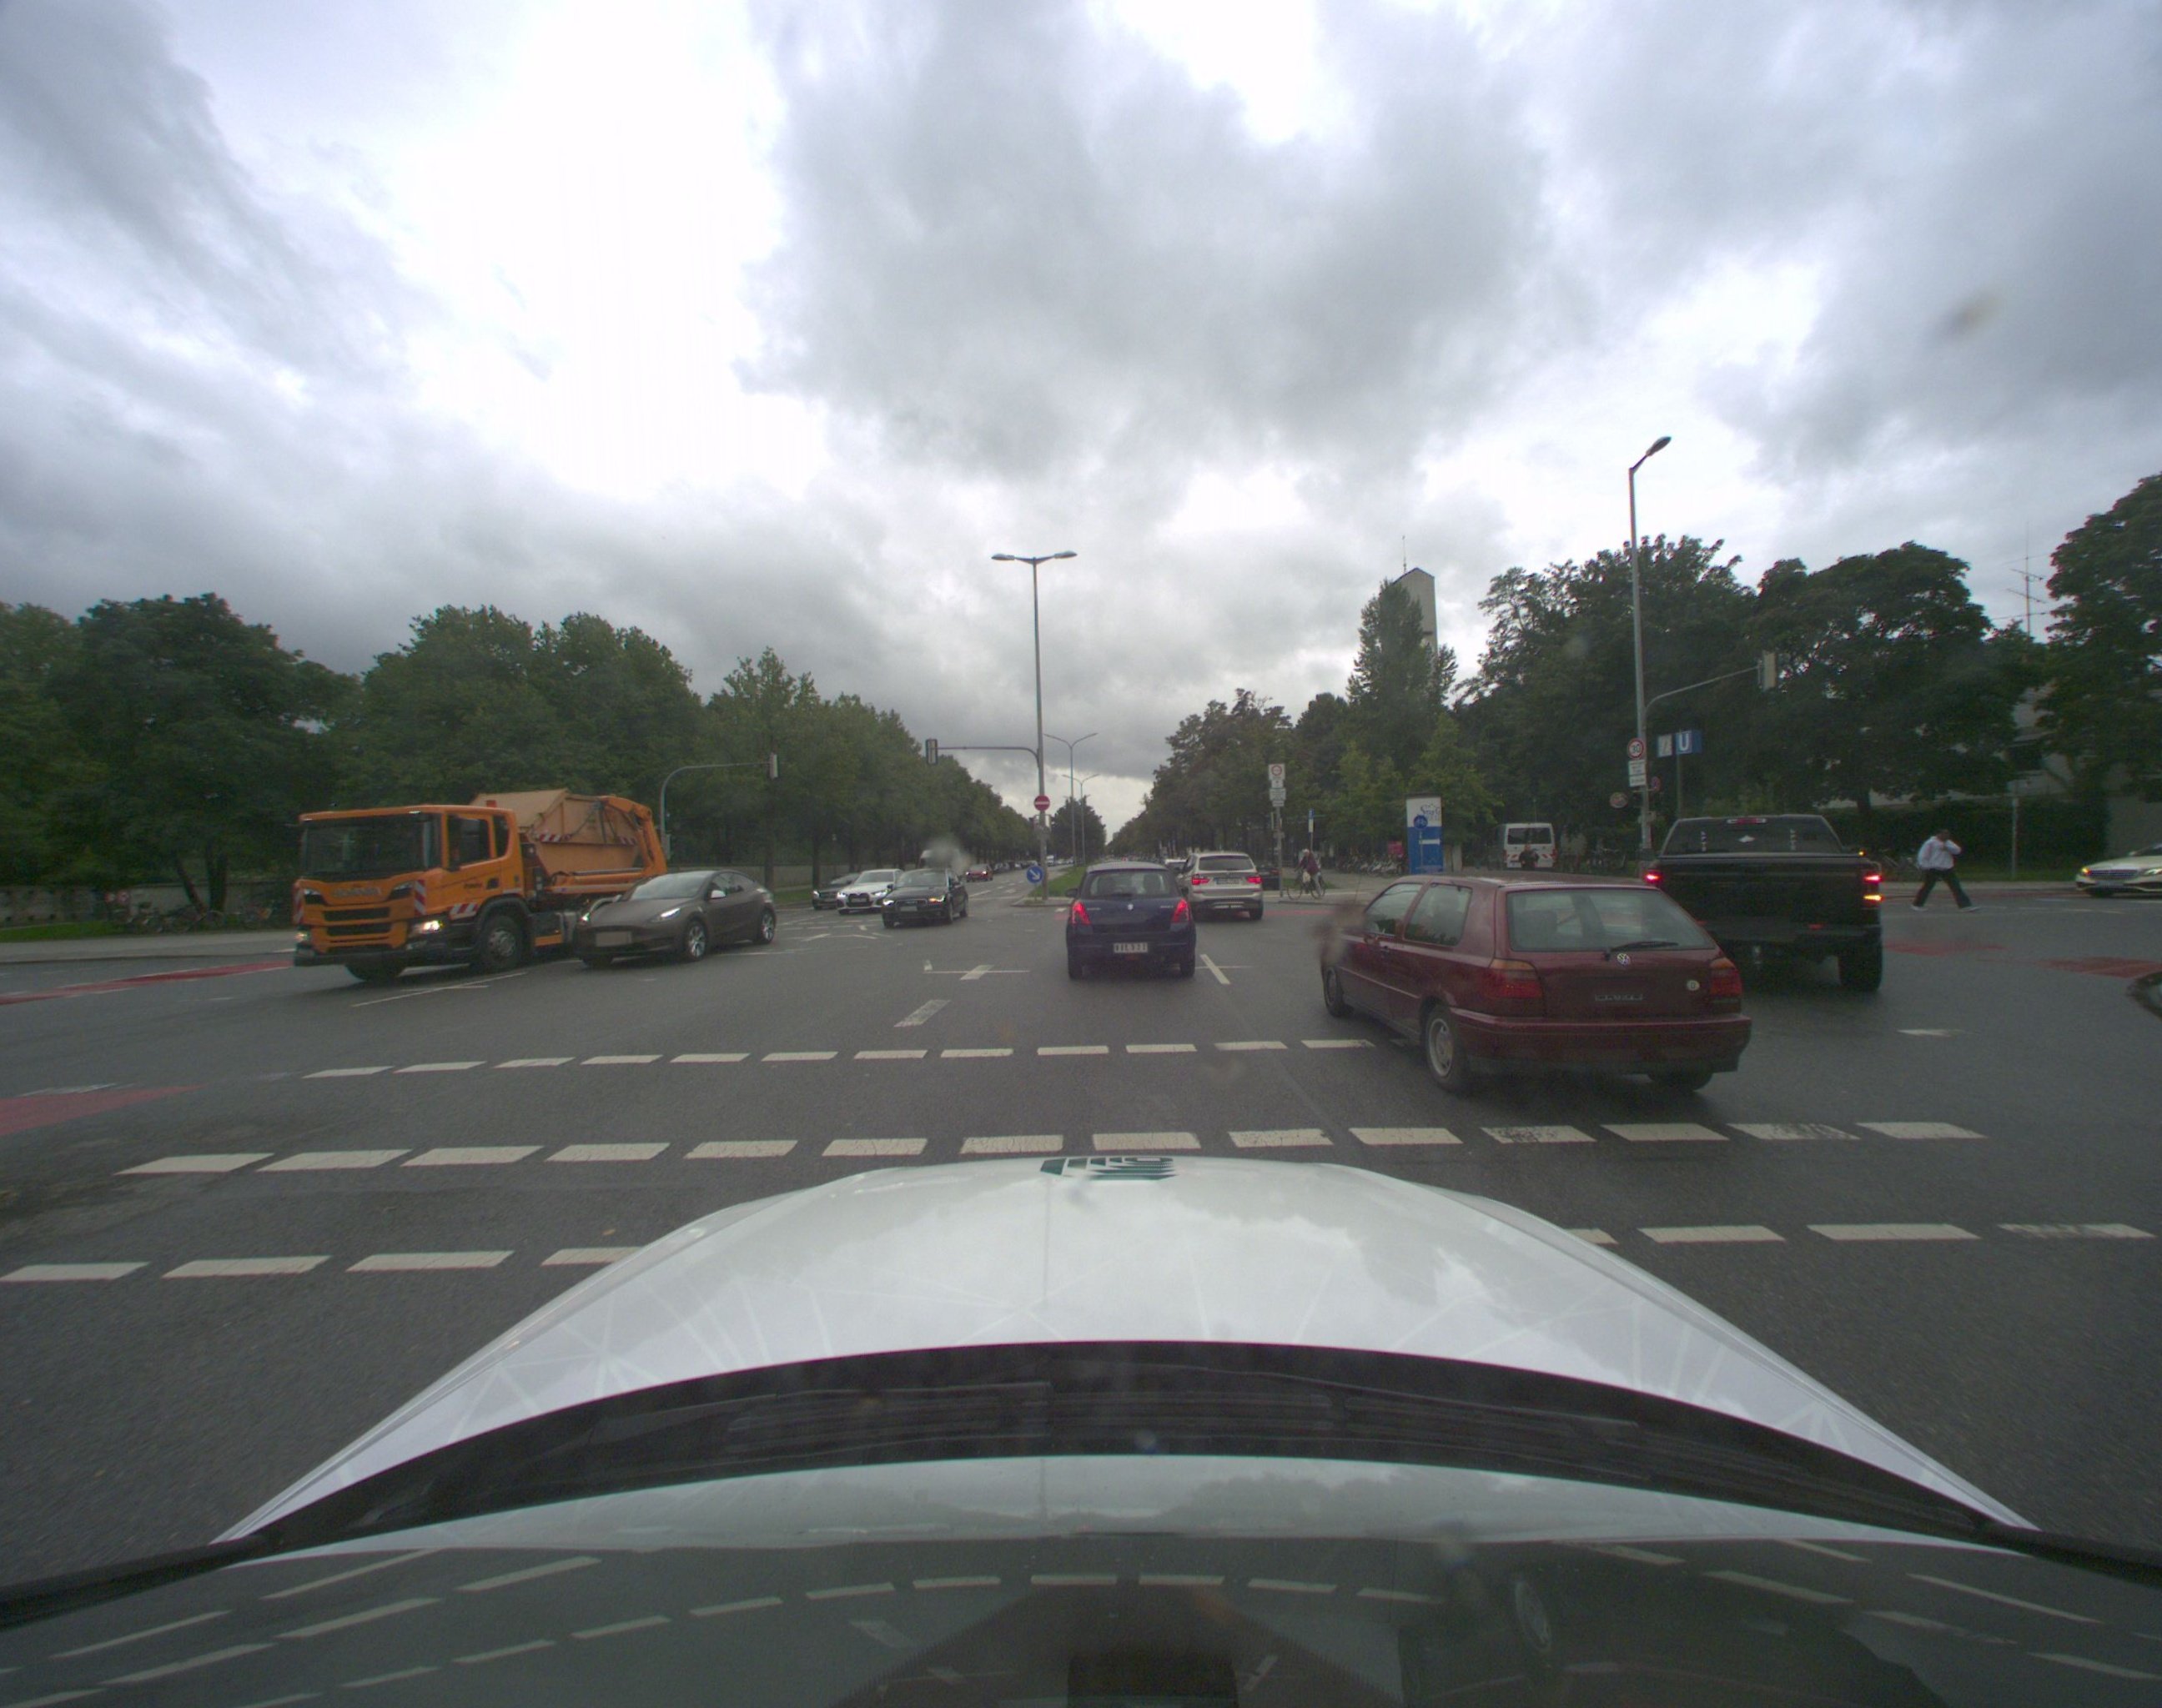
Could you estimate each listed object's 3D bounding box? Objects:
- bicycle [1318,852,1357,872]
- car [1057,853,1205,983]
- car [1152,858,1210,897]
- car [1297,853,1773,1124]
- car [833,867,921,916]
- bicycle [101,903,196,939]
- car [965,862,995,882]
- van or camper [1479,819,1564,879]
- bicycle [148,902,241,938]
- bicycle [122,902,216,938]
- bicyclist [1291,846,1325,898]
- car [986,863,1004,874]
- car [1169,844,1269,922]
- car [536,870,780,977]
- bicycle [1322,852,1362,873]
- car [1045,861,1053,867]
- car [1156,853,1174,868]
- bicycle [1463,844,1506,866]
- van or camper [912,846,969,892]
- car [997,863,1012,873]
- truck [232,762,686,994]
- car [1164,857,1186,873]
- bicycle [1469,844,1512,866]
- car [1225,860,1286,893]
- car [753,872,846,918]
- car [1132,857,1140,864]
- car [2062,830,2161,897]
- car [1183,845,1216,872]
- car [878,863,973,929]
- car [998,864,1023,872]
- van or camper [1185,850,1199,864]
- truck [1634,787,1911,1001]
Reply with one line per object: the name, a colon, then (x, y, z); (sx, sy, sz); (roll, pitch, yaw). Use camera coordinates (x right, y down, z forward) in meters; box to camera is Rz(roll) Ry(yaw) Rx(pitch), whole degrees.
bicycle: (16.966, 0.520, 53.920); (2.330, 1.157, 0.529); (-4, 0, 1)
car: (0.632, 0.808, 12.100); (1.783, 1.555, 3.999); (-2, 0, 0)
car: (4.056, 0.927, 33.673); (1.844, 1.447, 4.097); (-2, 0, 0)
car: (3.043, 0.757, 6.497); (1.616, 1.454, 3.950); (-2, 0, 1)
car: (-7.114, 1.258, 28.904); (1.720, 1.487, 4.745); (-2, 0, 2)
bicycle: (-36.640, 2.624, 32.063); (0.832, 1.186, 2.496); (-2, 0, 0)
car: (-8.583, 1.495, 69.301); (1.737, 1.452, 4.659); (-4, 0, 1)
van or camper: (18.674, -0.196, 34.826); (2.124, 2.296, 6.229); (-2, 0, 19)
bicycle: (-34.478, 2.563, 31.740); (0.832, 1.186, 2.496); (-2, -1, 0)
bicycle: (-35.610, 2.573, 31.872); (0.832, 1.186, 2.496); (-2, 0, 0)
bicyclist: (7.864, 0.626, 28.227); (0.831, 1.764, 0.738); (-1, -1, -34)
car: (-12.212, 2.008, 115.740); (1.563, 1.503, 4.310); (-1, 0, 6)
car: (3.396, 0.683, 20.791); (1.844, 1.743, 4.097); (-2, 0, 0)
car: (-7.488, 1.136, 15.099); (1.855, 1.542, 4.751); (-2, 0, 2)
bicycle: (16.663, 0.516, 51.988); (2.336, 1.157, 0.528); (-4, 0, -8)
car: (-8.180, 2.531, 207.192); (1.907, 1.542, 4.187); (-2, 0, 0)
car: (10.086, 0.746, 98.208); (1.780, 1.675, 4.596); (-2, 0, 1)
bicycle: (25.303, 0.058, 51.049); (2.330, 1.157, 0.529); (-4, 0, 1)
van or camper: (-9.064, 0.947, 53.090); (2.170, 2.646, 6.952); (-4, 0, 1)
car: (-12.009, 2.166, 127.832); (1.629, 1.439, 4.812); (-1, 0, 3)
truck: (-10.987, 0.394, 15.682); (2.768, 3.356, 7.273); (-2, -1, 4)
car: (9.246, 1.075, 80.350); (1.711, 1.508, 4.225); (-2, 0, 2)
bicycle: (25.337, 0.055, 50.413); (2.330, 1.157, 0.529); (-4, 0, 1)
car: (7.820, 0.958, 36.866); (1.705, 1.360, 4.620); (-1, 0, 0)
car: (-10.343, 1.471, 30.260); (1.716, 1.416, 4.218); (-4, -1, 2)
car: (11.779, 1.433, 174.730); (1.677, 1.525, 4.458); (0, 0, 3)
car: (26.436, 0.156, 19.261); (4.289, 1.497, 1.886); (-2, 0, -2)
car: (8.100, 0.277, 56.030); (1.741, 1.724, 4.908); (-1, 0, 2)
car: (-3.945, 1.010, 21.198); (1.634, 1.487, 3.781); (-2, 0, 1)
car: (-12.540, 2.520, 144.779); (4.015, 1.354, 1.831); (-2, 0, -33)
van or camper: (21.579, 0.522, 158.515); (2.016, 2.558, 5.959); (-2, 0, 2)
truck: (8.673, 0.359, 10.631); (2.078, 2.013, 5.849); (-2, -1, 37)
